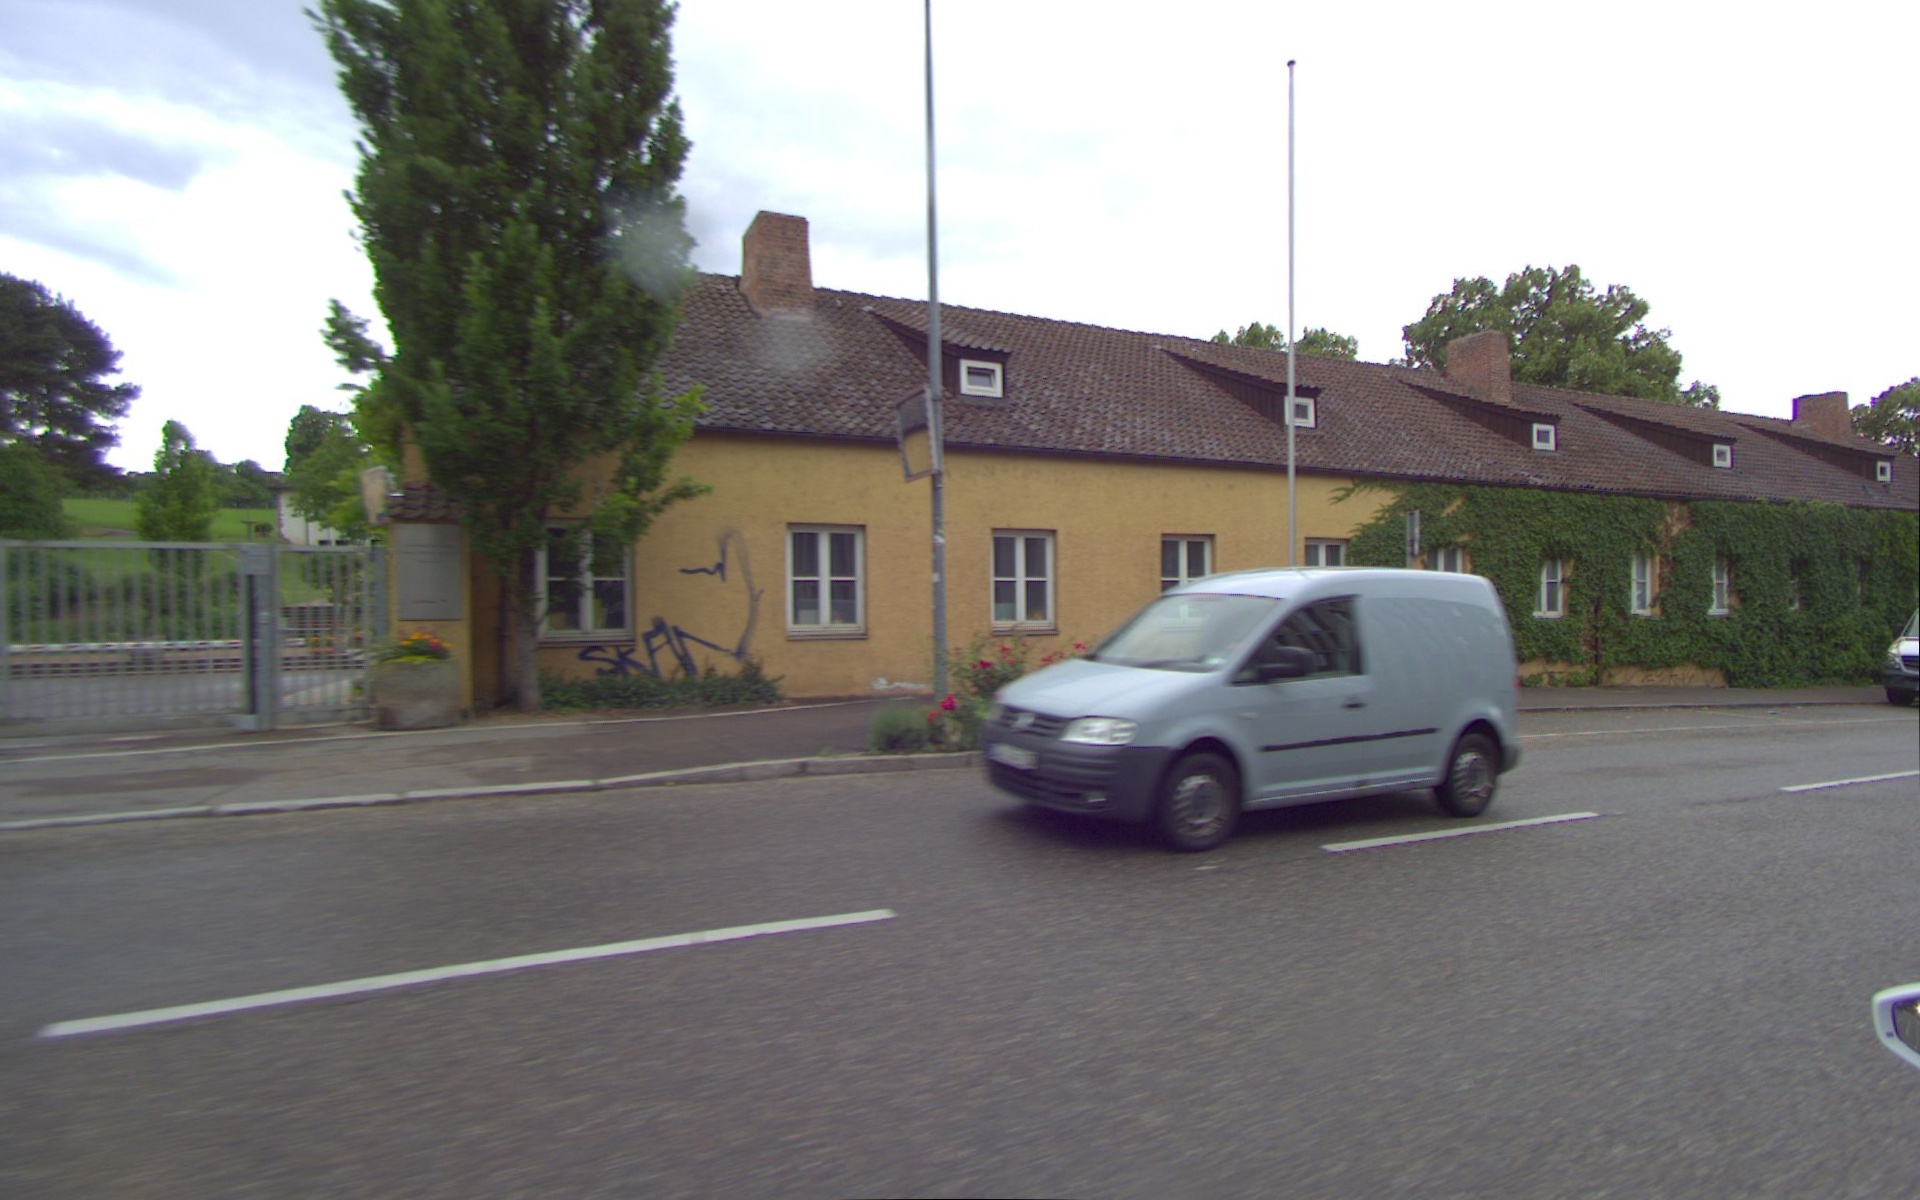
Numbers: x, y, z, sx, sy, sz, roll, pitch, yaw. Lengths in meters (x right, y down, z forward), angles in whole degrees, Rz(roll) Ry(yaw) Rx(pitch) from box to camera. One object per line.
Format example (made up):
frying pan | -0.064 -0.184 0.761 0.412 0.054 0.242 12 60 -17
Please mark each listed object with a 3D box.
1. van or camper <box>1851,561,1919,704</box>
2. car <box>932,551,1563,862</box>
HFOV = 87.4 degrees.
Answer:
van or camper | 21.535 0.707 20.884 6.060 2.802 2.332 1 0 -26
car | 2.212 0.657 7.480 4.454 1.728 1.887 2 0 -29
